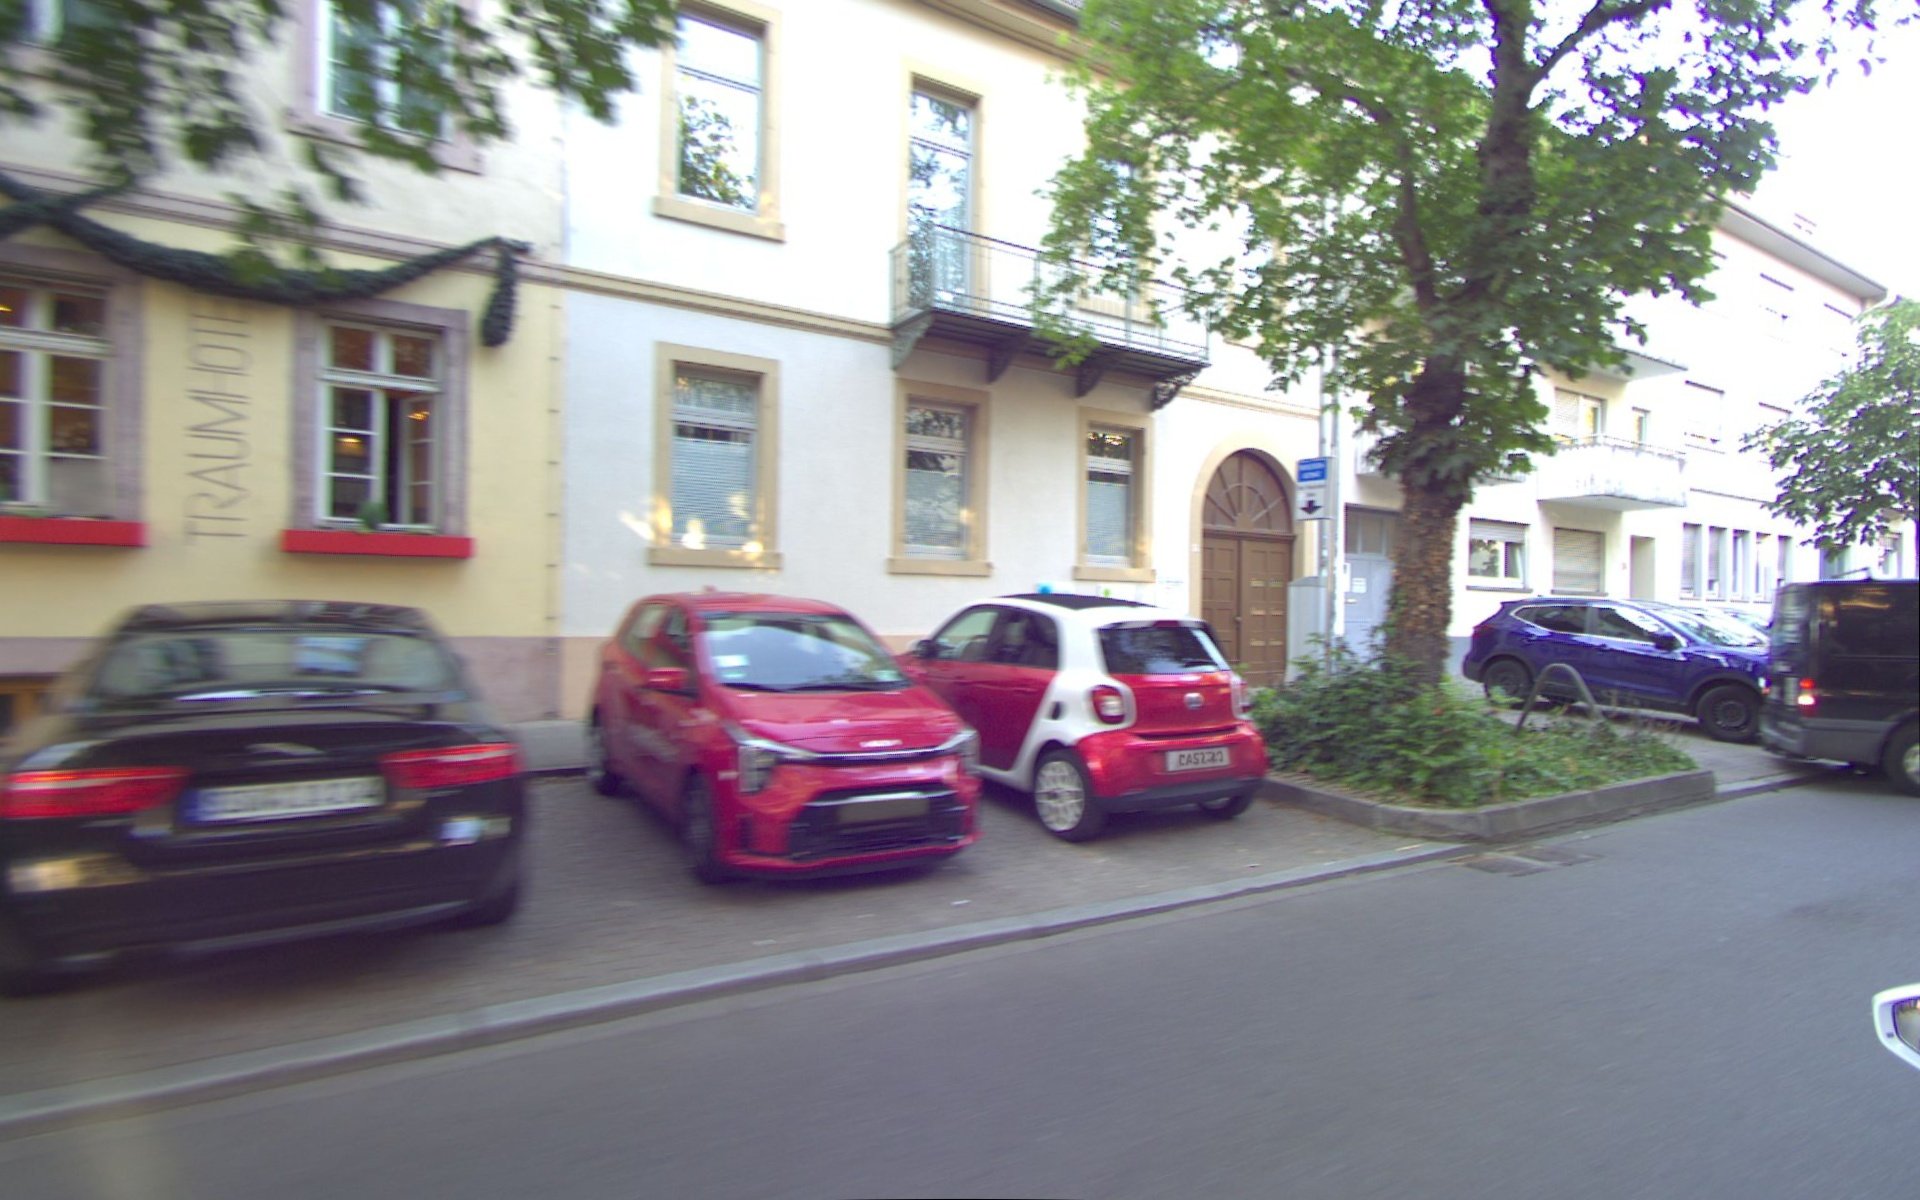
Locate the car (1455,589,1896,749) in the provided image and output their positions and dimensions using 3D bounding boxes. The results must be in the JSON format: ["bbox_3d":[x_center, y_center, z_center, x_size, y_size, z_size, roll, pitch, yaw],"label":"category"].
[{"bbox_3d":[9.202,0.753,13.342,1.909,1.594,4.330,1,2,-31],"label":"car"}]

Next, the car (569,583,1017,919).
[{"bbox_3d":[-1.356,0.686,6.618,1.641,1.469,3.664,1,2,-31],"label":"car"}]

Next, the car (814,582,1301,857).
[{"bbox_3d":[0.474,0.723,8.381,1.752,1.559,4.330,2,1,-31],"label":"car"}]

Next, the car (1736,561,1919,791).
[{"bbox_3d":[10.234,0.683,8.996,4.917,2.017,2.185,0,0,30],"label":"car"}]

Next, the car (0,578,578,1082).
[{"bbox_3d":[-3.445,0.668,5.189,1.701,1.425,4.394,2,0,-35],"label":"car"}]
